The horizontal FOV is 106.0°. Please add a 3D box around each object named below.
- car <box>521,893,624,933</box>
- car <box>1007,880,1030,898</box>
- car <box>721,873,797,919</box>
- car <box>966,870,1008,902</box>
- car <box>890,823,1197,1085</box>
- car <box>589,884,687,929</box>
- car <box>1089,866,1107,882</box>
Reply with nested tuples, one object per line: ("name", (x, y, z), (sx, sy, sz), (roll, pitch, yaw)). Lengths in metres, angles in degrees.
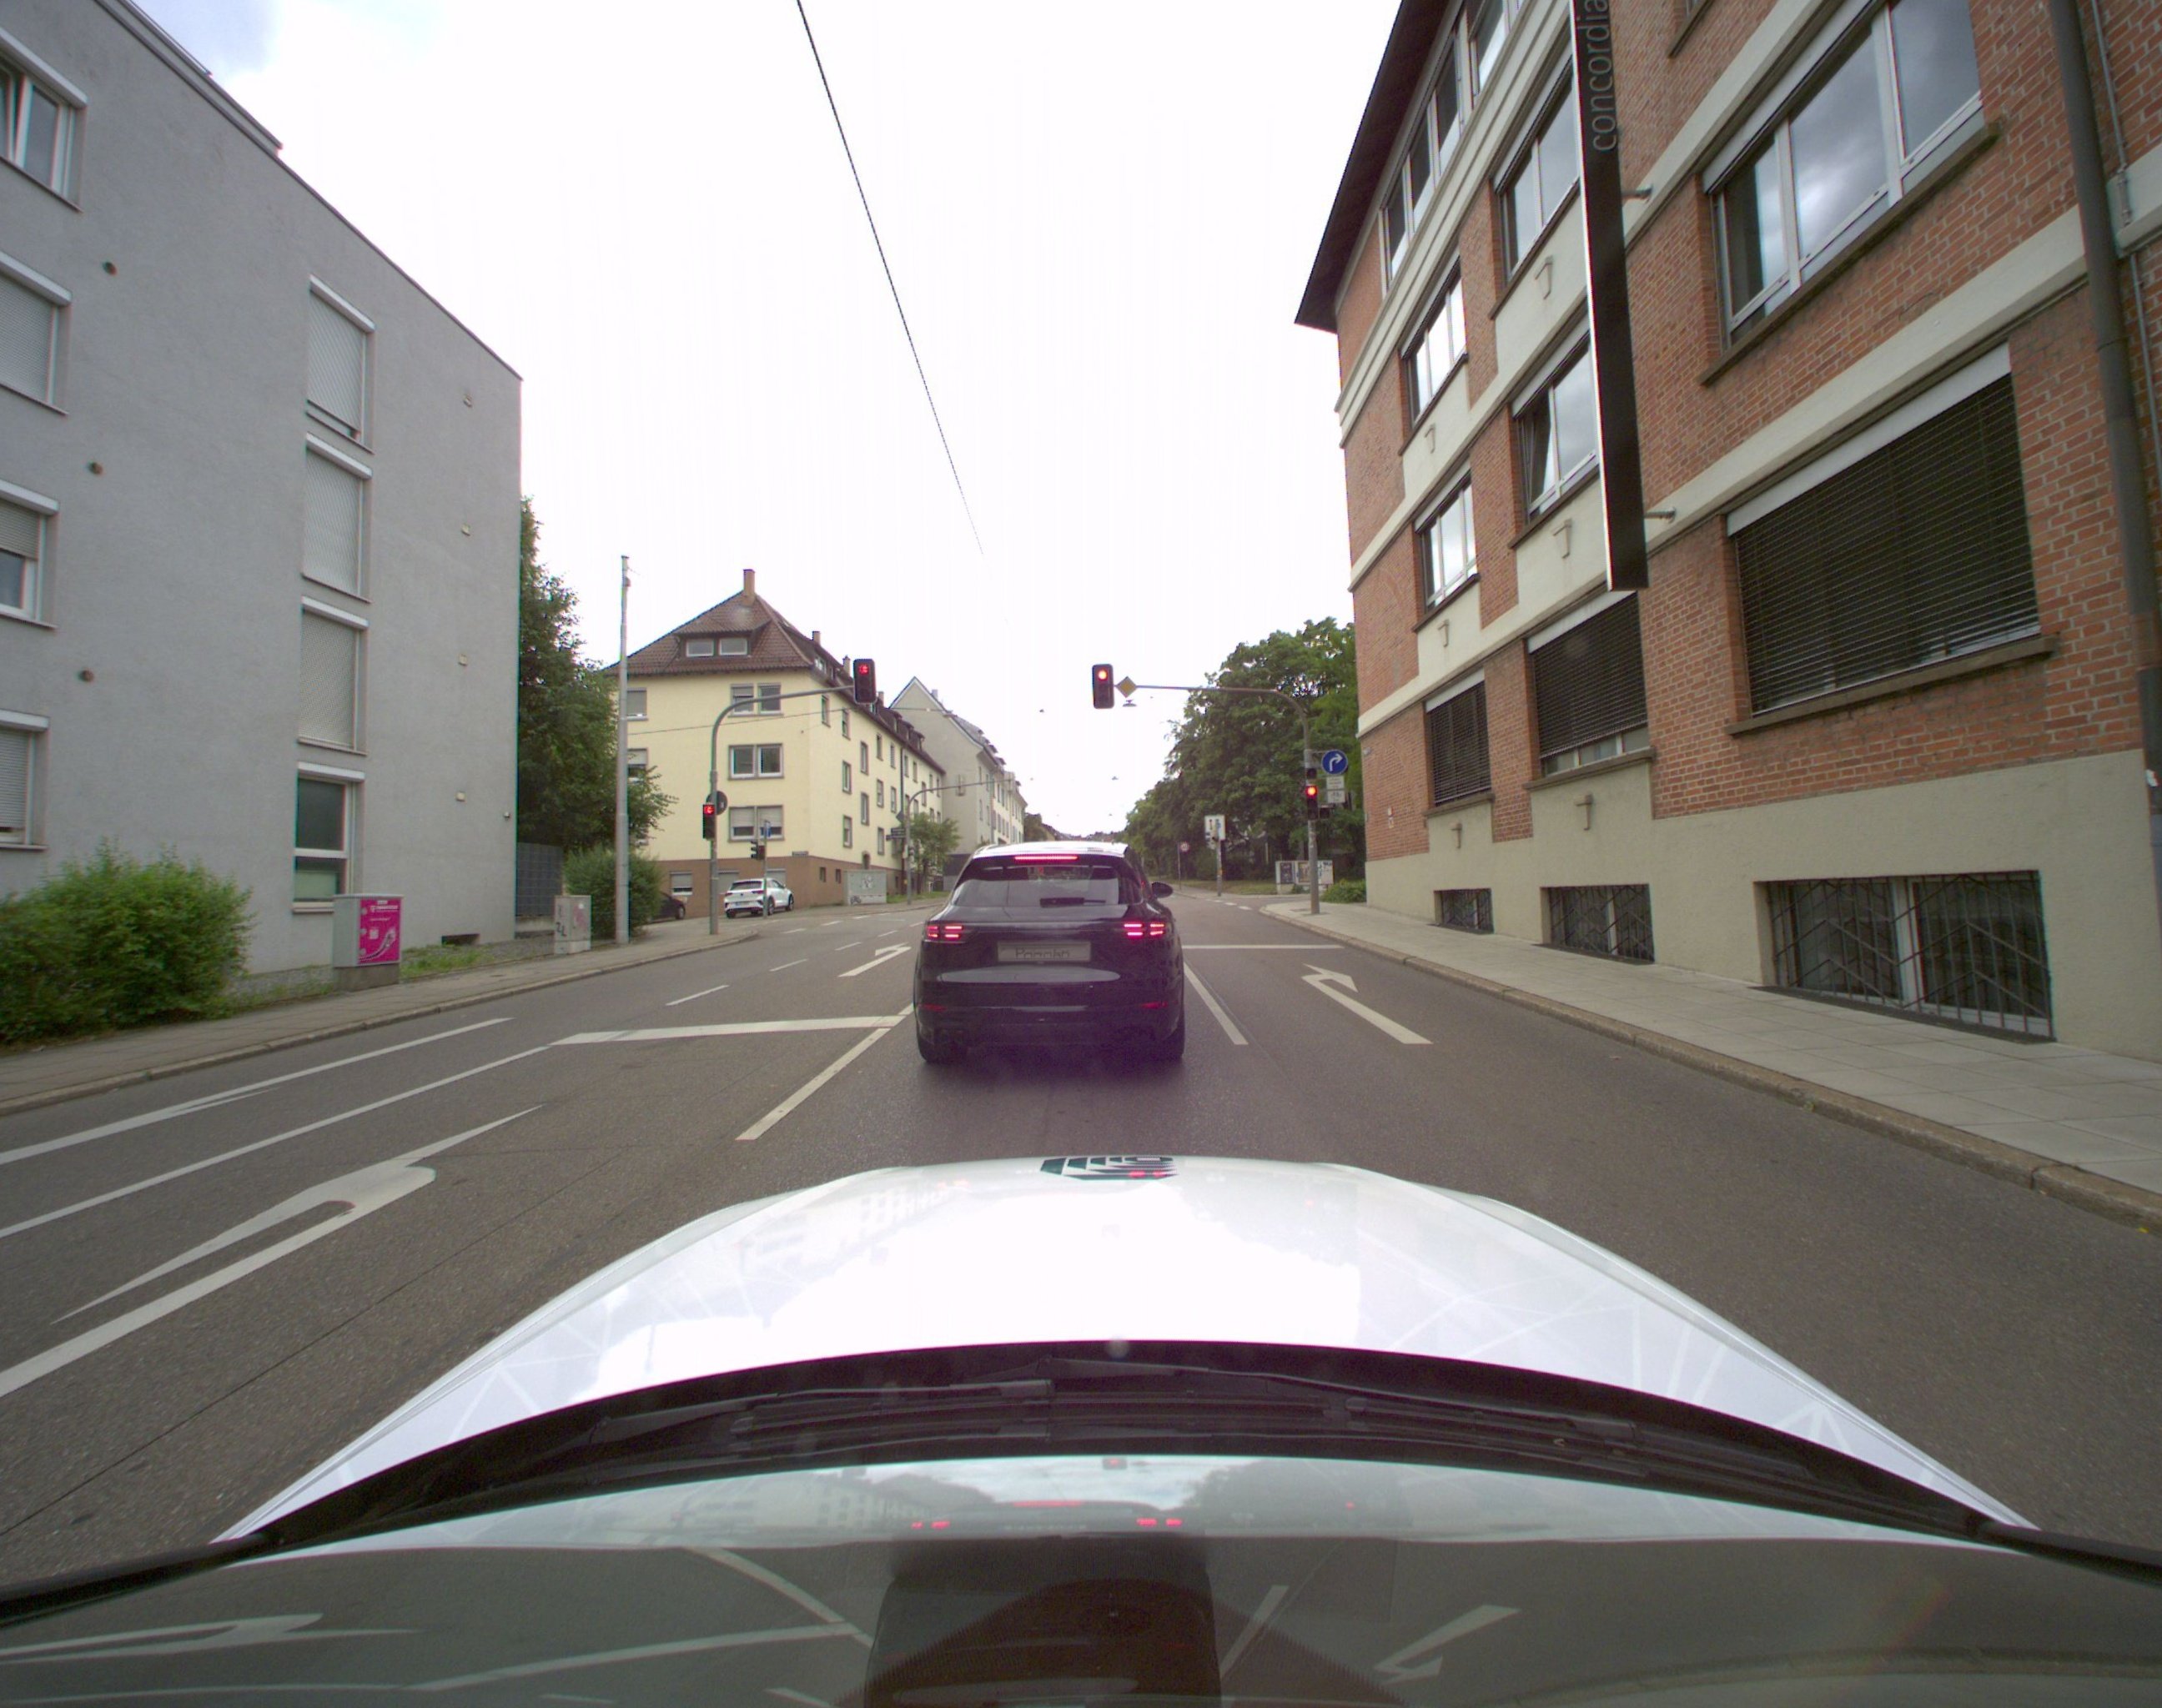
("car", (-21.155, 2.430, 34.067), (1.663, 1.362, 4.001), (-1, -1, 2))
("car", (-5.344, 2.984, 69.628), (1.665, 1.362, 3.998), (-1, -1, -1))
("car", (-13.516, 1.703, 34.408), (1.666, 1.662, 3.996), (-4, 0, -3))
("car", (-5.221, 1.755, 45.703), (1.657, 1.519, 3.742), (-5, -1, 2))
("car", (-0.183, 0.667, 7.302), (1.986, 1.697, 4.001), (0, -1, 2))
("car", (-18.621, 2.157, 34.457), (1.664, 1.546, 4.103), (-5, -1, 2))
("car", (1.664, 1.999, 81.008), (1.683, 1.552, 3.888), (0, -1, 0))
